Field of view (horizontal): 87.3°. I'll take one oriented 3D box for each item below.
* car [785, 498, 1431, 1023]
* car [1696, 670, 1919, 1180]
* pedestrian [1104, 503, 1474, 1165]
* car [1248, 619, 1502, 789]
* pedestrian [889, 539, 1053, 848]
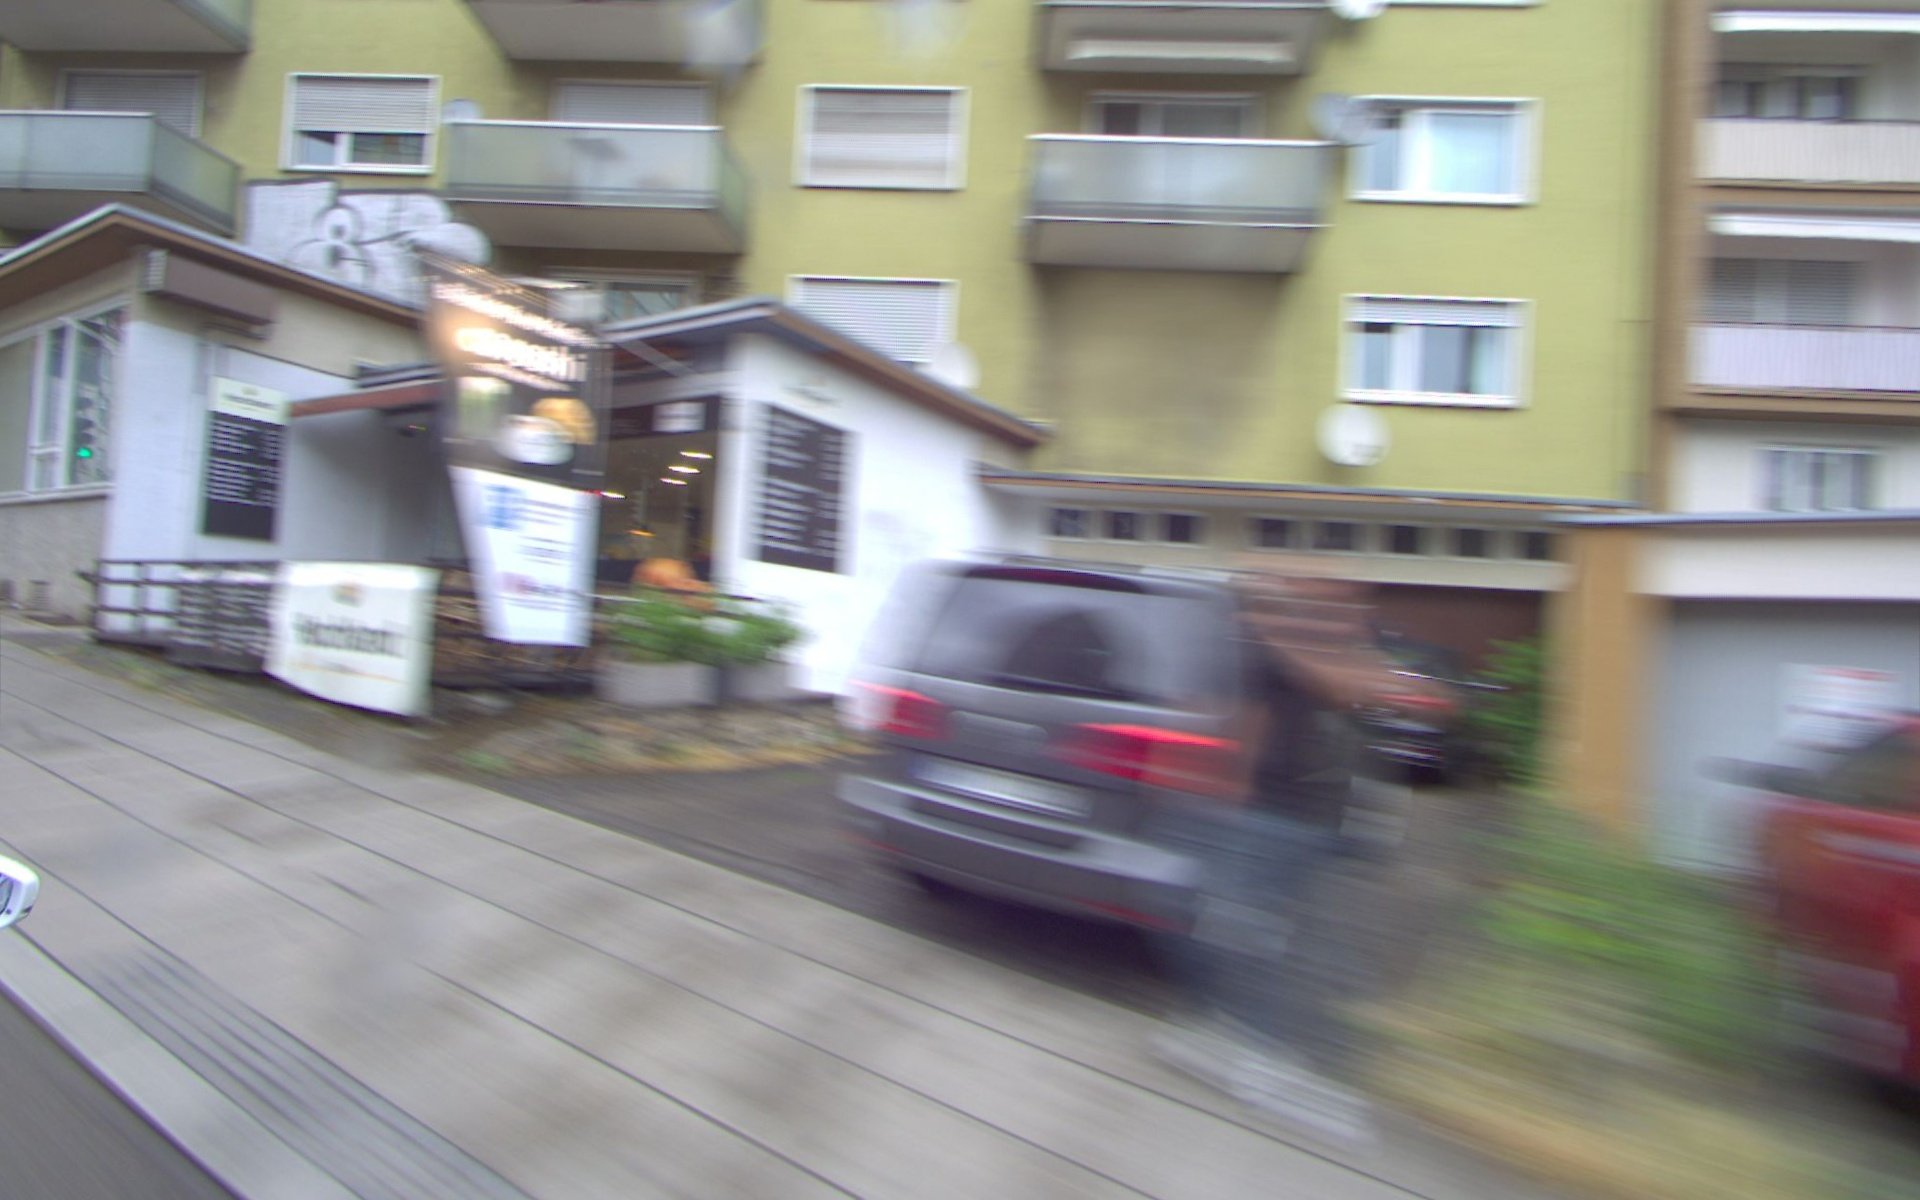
[{"bbox_3d":[1.243,0.617,5.672,1.752,1.696,4.329,8,1,34],"label":"car"},{"bbox_3d":[4.692,1.162,4.500,1.736,1.456,4.572,6,0,31],"label":"car"},{"bbox_3d":[0.996,0.616,3.088,0.604,1.737,0.712,3,3,-45],"label":"pedestrian"},{"bbox_3d":[4.801,1.041,11.208,1.753,1.418,4.514,3,-2,33],"label":"car"},{"bbox_3d":[0.079,0.549,6.144,0.603,1.734,0.580,7,-1,28],"label":"pedestrian"}]
